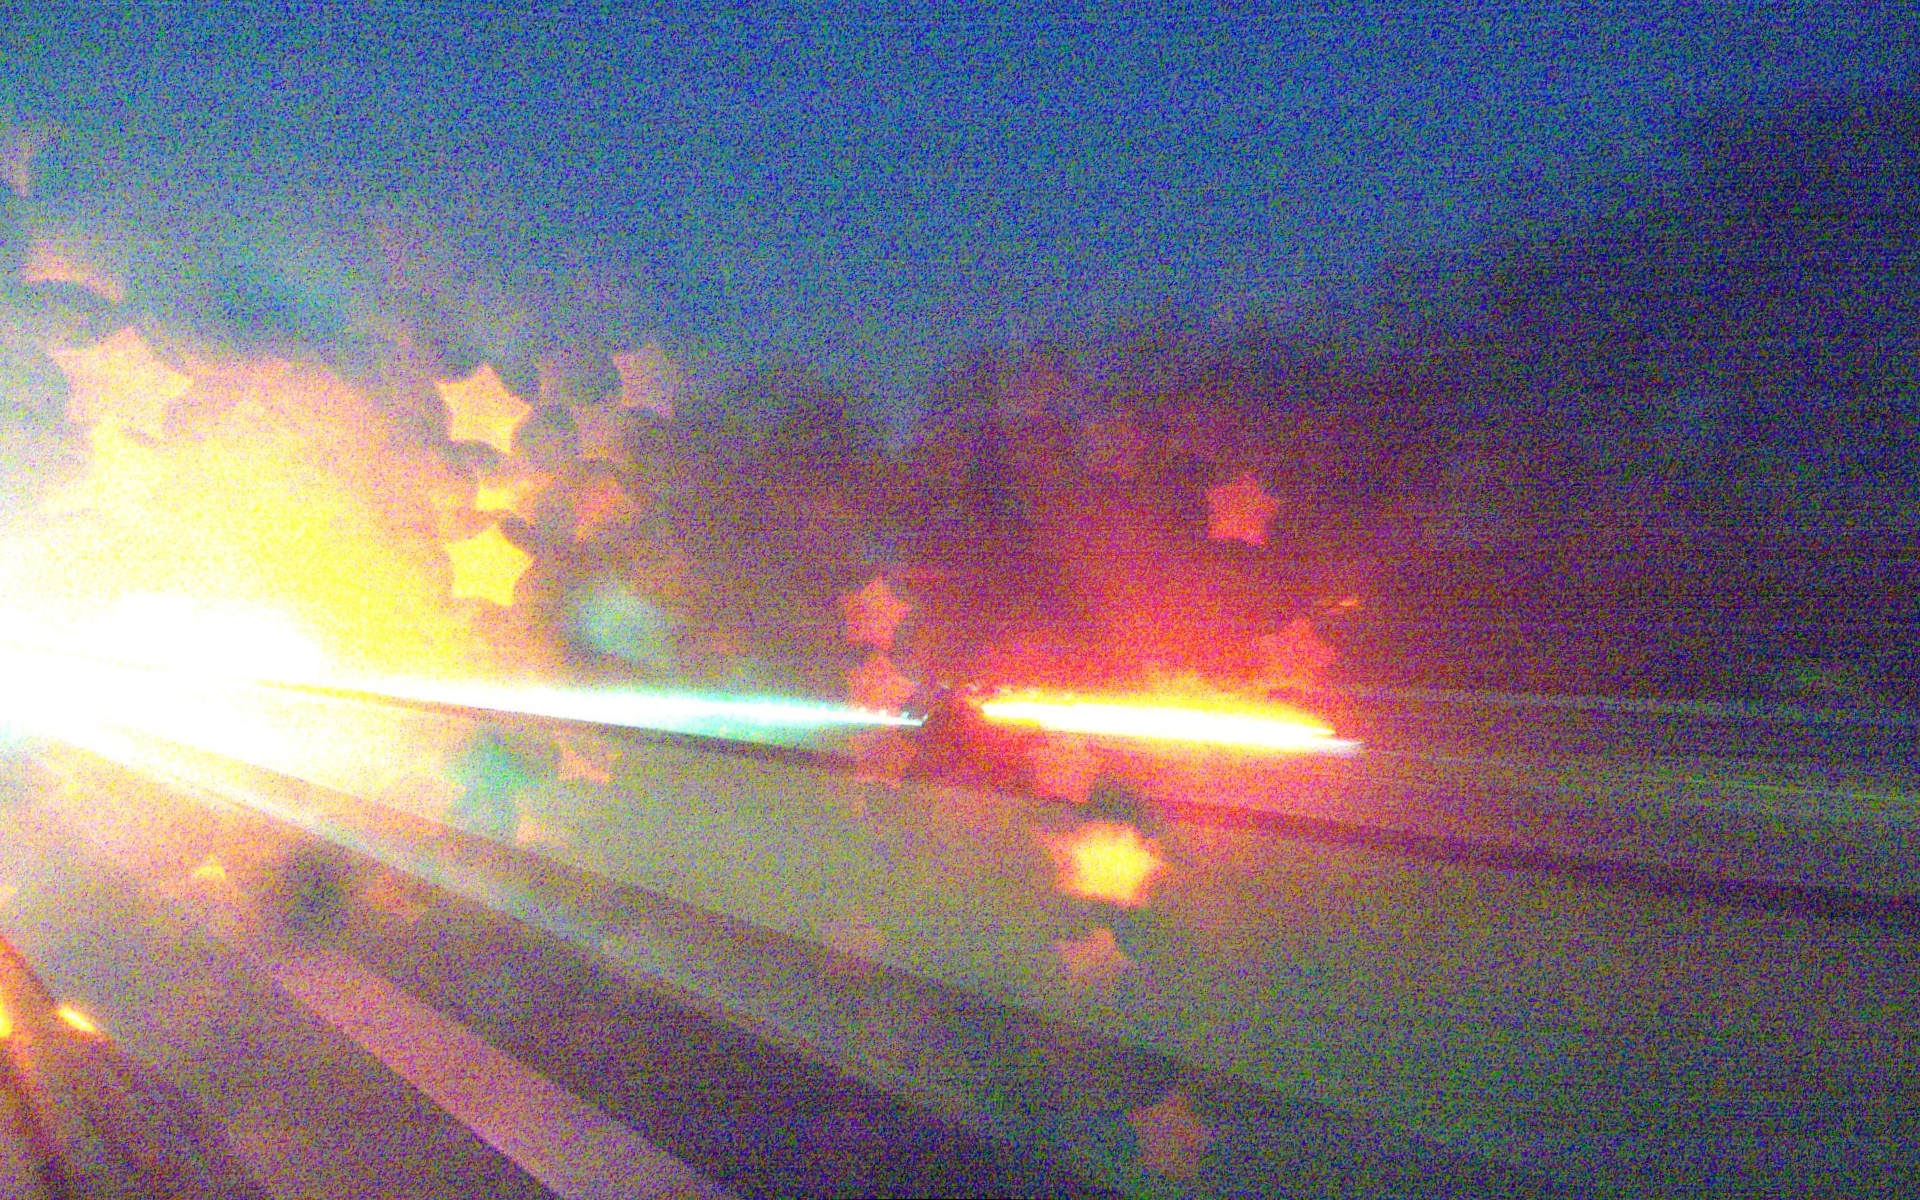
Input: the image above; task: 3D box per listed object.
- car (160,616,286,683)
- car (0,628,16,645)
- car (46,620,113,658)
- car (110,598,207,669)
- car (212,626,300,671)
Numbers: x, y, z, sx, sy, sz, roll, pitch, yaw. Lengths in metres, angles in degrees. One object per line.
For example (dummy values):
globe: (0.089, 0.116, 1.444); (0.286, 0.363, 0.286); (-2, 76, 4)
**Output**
car: (-20.613, 1.322, 28.244); (4.505, 1.697, 1.896); (0, -2, 42)
car: (-94.860, 3.582, 99.862); (4.807, 1.675, 1.972); (-1, -3, 42)
car: (-42.081, 1.863, 48.330); (3.999, 1.697, 1.896); (0, -2, 42)
car: (-57.792, 2.411, 72.811); (10.592, 4.764, 3.666); (-2, -1, 42)
car: (-28.651, 1.937, 41.159); (4.505, 1.697, 1.896); (0, -2, 42)
